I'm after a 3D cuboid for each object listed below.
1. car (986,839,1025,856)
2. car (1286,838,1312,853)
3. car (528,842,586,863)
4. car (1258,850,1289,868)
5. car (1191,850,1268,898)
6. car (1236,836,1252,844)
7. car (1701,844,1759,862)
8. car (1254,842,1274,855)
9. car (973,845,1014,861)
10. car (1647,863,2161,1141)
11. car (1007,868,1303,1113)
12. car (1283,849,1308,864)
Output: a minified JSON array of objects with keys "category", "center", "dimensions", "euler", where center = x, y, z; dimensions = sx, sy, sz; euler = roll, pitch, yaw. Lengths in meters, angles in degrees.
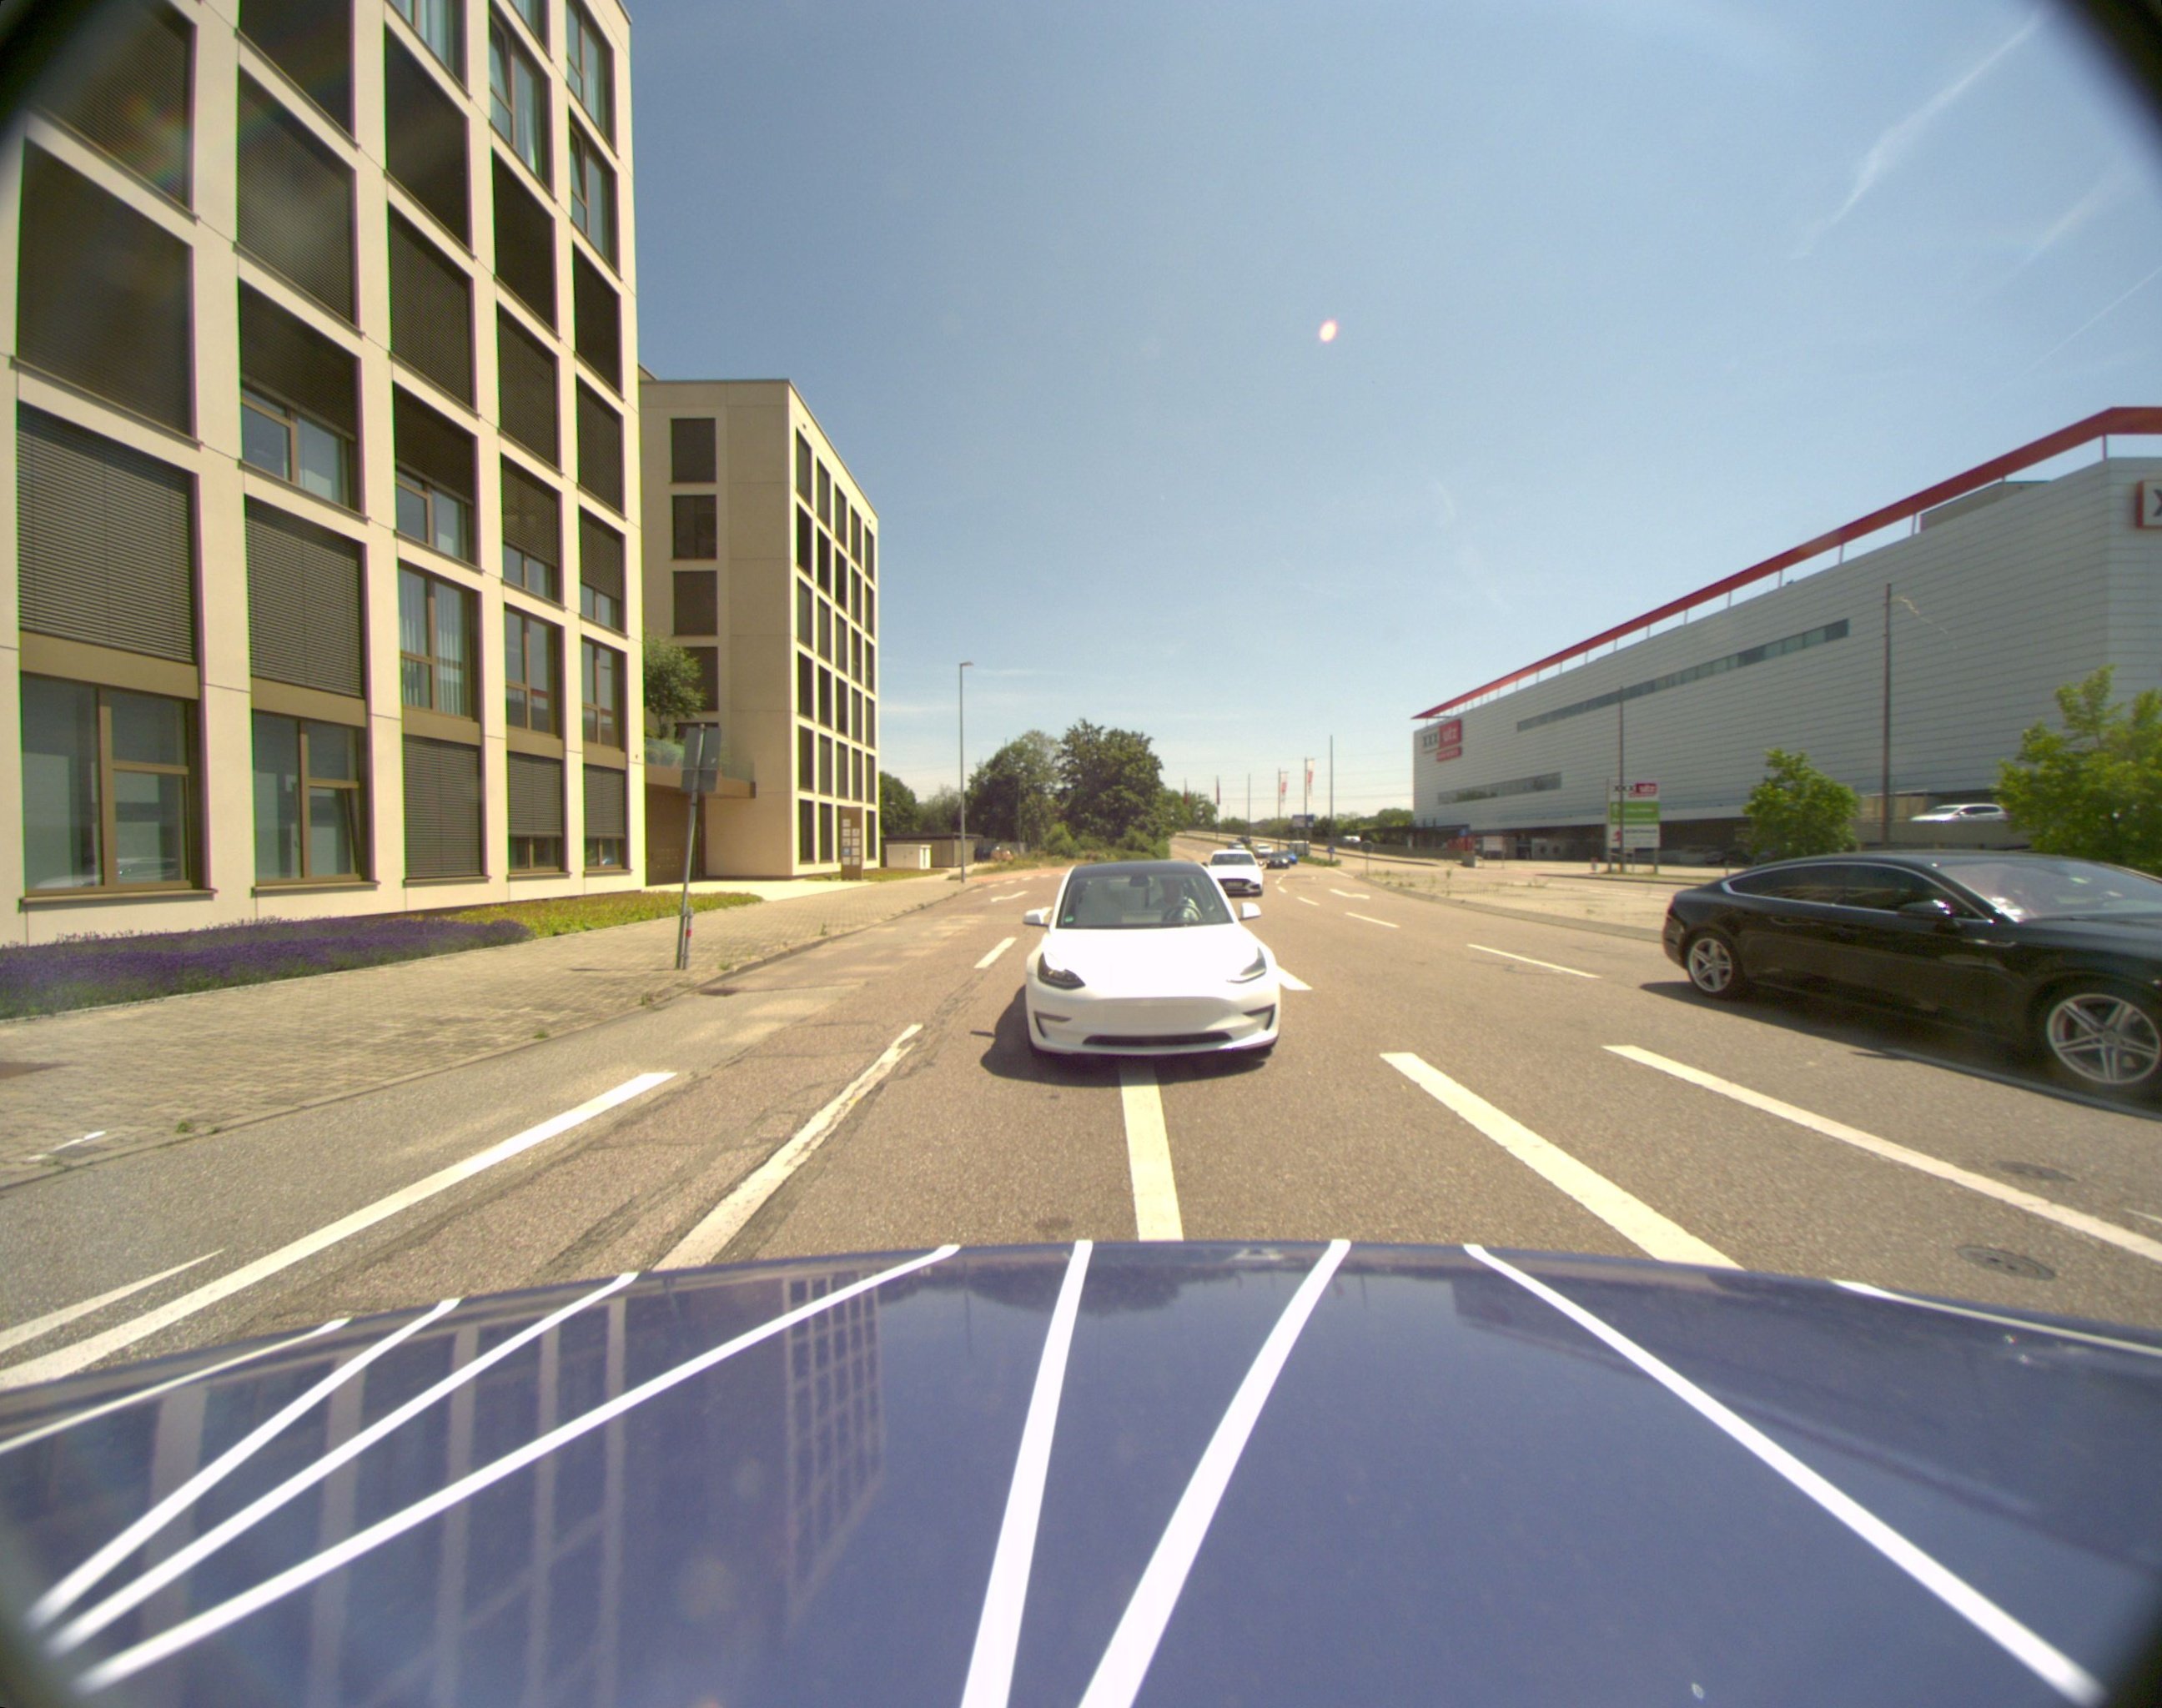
[{"category":"car","center":[-8.590,-0.758,86.095],"dimensions":[4.005,1.942,1.996],"euler":[0,1,-24]},{"category":"car","center":[28.506,-1.089,99.556],"dimensions":[1.835,1.840,4.837],"euler":[0,2,-2]},{"category":"car","center":[-46.777,-0.166,67.915],"dimensions":[1.997,1.841,4.003],"euler":[0,1,10]},{"category":"car","center":[15.610,0.353,61.875],"dimensions":[1.801,1.369,4.408],"euler":[-1,1,6]},{"category":"car","center":[4.792,0.596,25.099],"dimensions":[1.735,1.441,4.230],"euler":[-1,0,1]},{"category":"car","center":[27.118,-2.294,126.455],"dimensions":[1.860,1.295,3.893],"euler":[1,1,1]},{"category":"car","center":[61.107,-0.098,71.583],"dimensions":[3.746,1.611,1.912],"euler":[0,1,1]},{"category":"car","center":[22.652,-0.707,94.158],"dimensions":[1.679,1.566,4.057],"euler":[0,1,2]},{"category":"car","center":[-9.429,-0.151,82.089],"dimensions":[4.005,1.652,1.834],"euler":[0,1,-23]},{"category":"car","center":[6.596,0.798,5.500],"dimensions":[1.752,1.382,4.534],"euler":[-1,0,3]},{"category":"car","center":[0.430,0.916,7.086],"dimensions":[1.880,1.417,4.405],"euler":[-2,0,-1]},{"category":"car","center":[20.917,0.188,74.375],"dimensions":[1.800,1.405,4.409],"euler":[-1,0,8]}]
